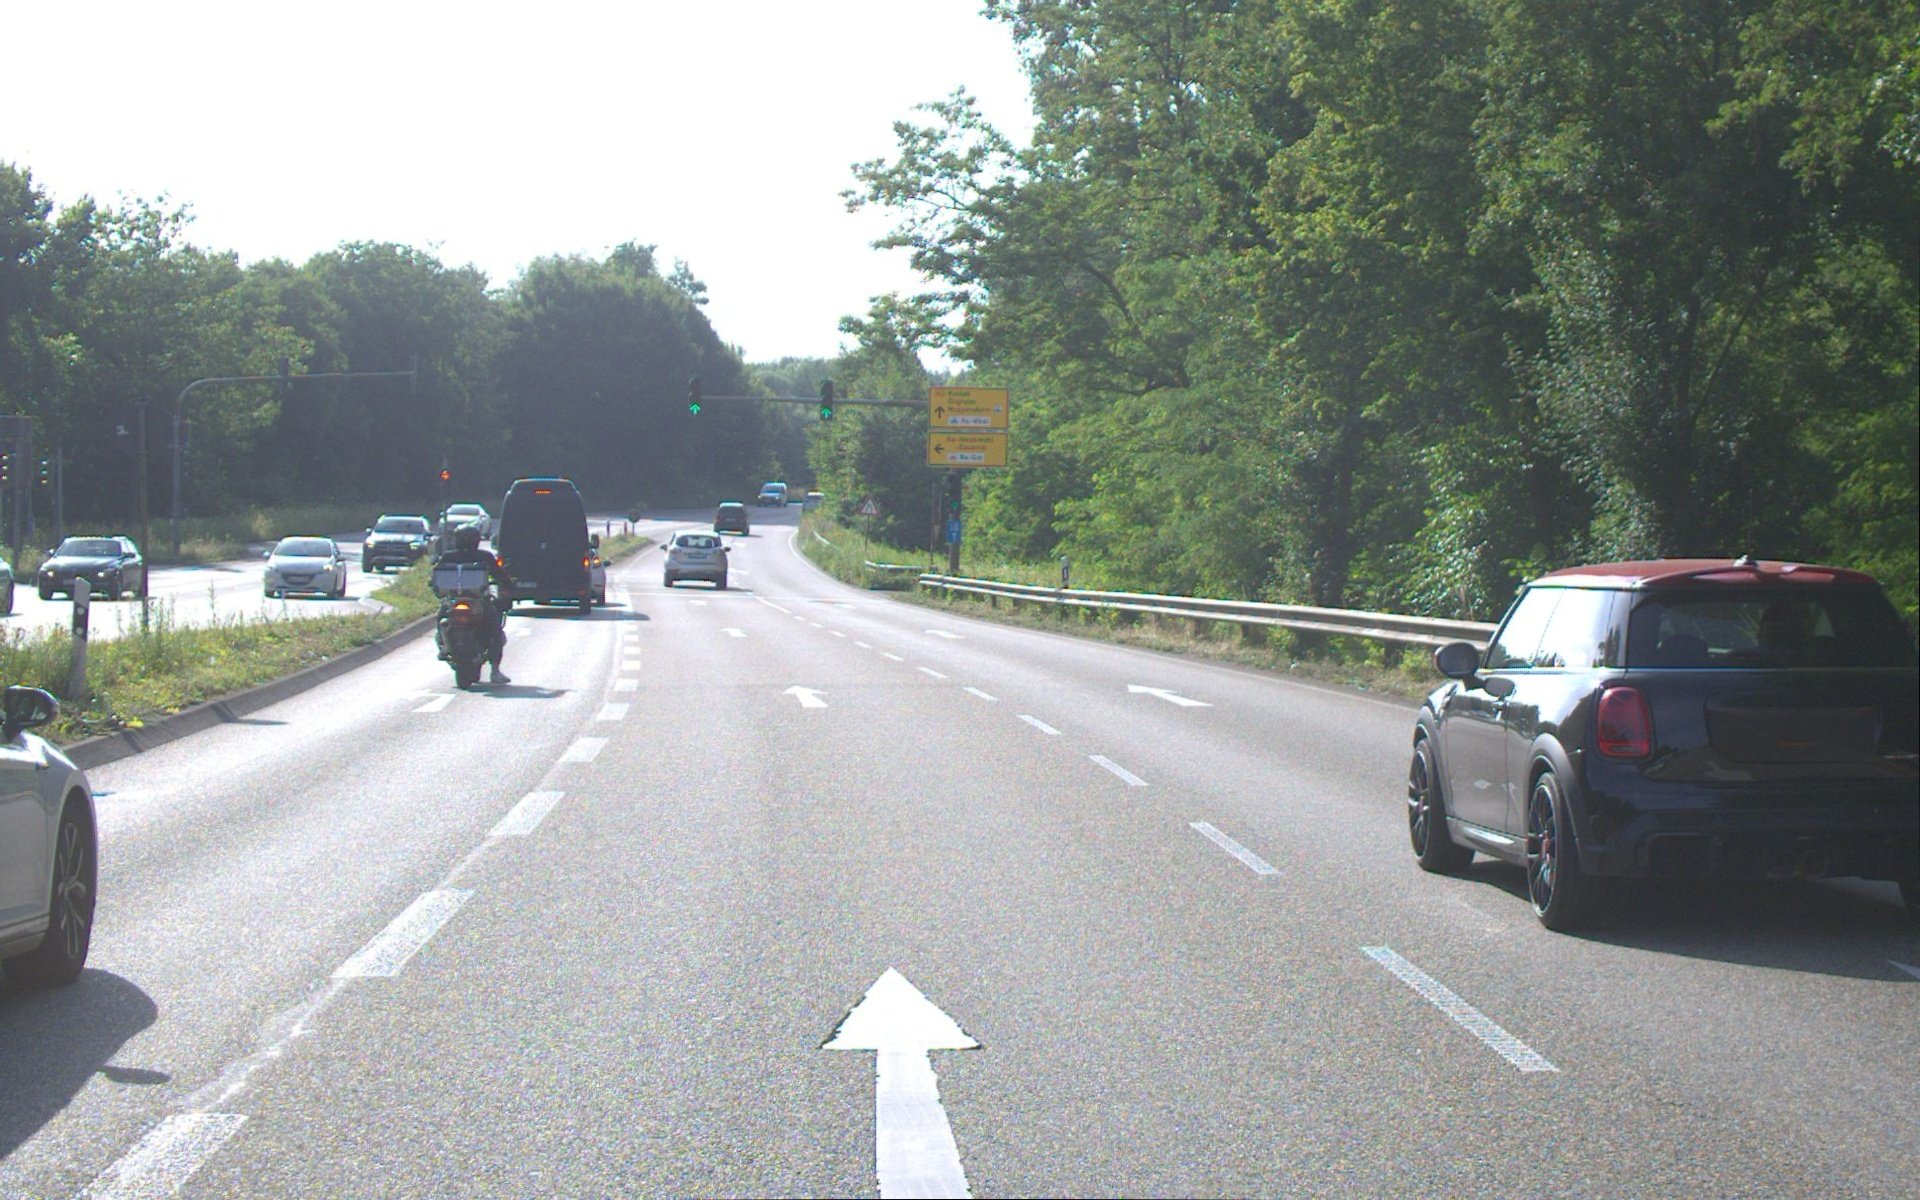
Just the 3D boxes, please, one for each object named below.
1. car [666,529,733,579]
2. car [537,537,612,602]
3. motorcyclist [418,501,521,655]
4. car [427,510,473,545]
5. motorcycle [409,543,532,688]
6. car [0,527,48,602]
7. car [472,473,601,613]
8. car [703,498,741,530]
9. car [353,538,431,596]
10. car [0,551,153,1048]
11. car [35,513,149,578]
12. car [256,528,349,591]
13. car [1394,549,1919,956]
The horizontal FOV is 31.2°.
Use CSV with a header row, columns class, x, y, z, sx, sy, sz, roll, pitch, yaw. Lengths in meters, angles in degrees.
class,x,y,z,sx,sy,sz,roll,pitch,yaw
car,-7.719,-1.383,102.131,1.761,1.375,3.972,2,1,-2
car,-9.135,-0.742,81.677,1.645,1.484,4.105,0,1,-5
motorcyclist,-5.297,-0.247,37.204,0.883,1.610,1.290,2,1,0
car,-22.458,-3.210,151.454,1.883,1.498,4.266,-1,1,-7
motorcycle,-5.262,0.135,37.127,0.909,1.448,2.689,-2,2,0
car,-18.604,-0.689,64.973,1.738,1.373,4.376,0,1,-2
car,-9.067,-1.256,74.085,2.209,2.878,7.012,0,1,-3
car,-12.195,-4.404,176.060,1.744,1.532,3.927,2,1,-7
car,-18.038,-1.079,109.368,2.075,1.757,4.758,-1,1,-5
car,-3.904,0.612,10.392,1.870,1.516,4.835,3,1,-2
car,-19.795,-1.268,78.591,1.788,1.402,4.755,1,1,-5
car,-16.074,-1.008,84.217,1.788,1.406,4.228,2,1,-5
car,3.022,0.538,14.626,1.819,1.462,3.873,1,1,0
